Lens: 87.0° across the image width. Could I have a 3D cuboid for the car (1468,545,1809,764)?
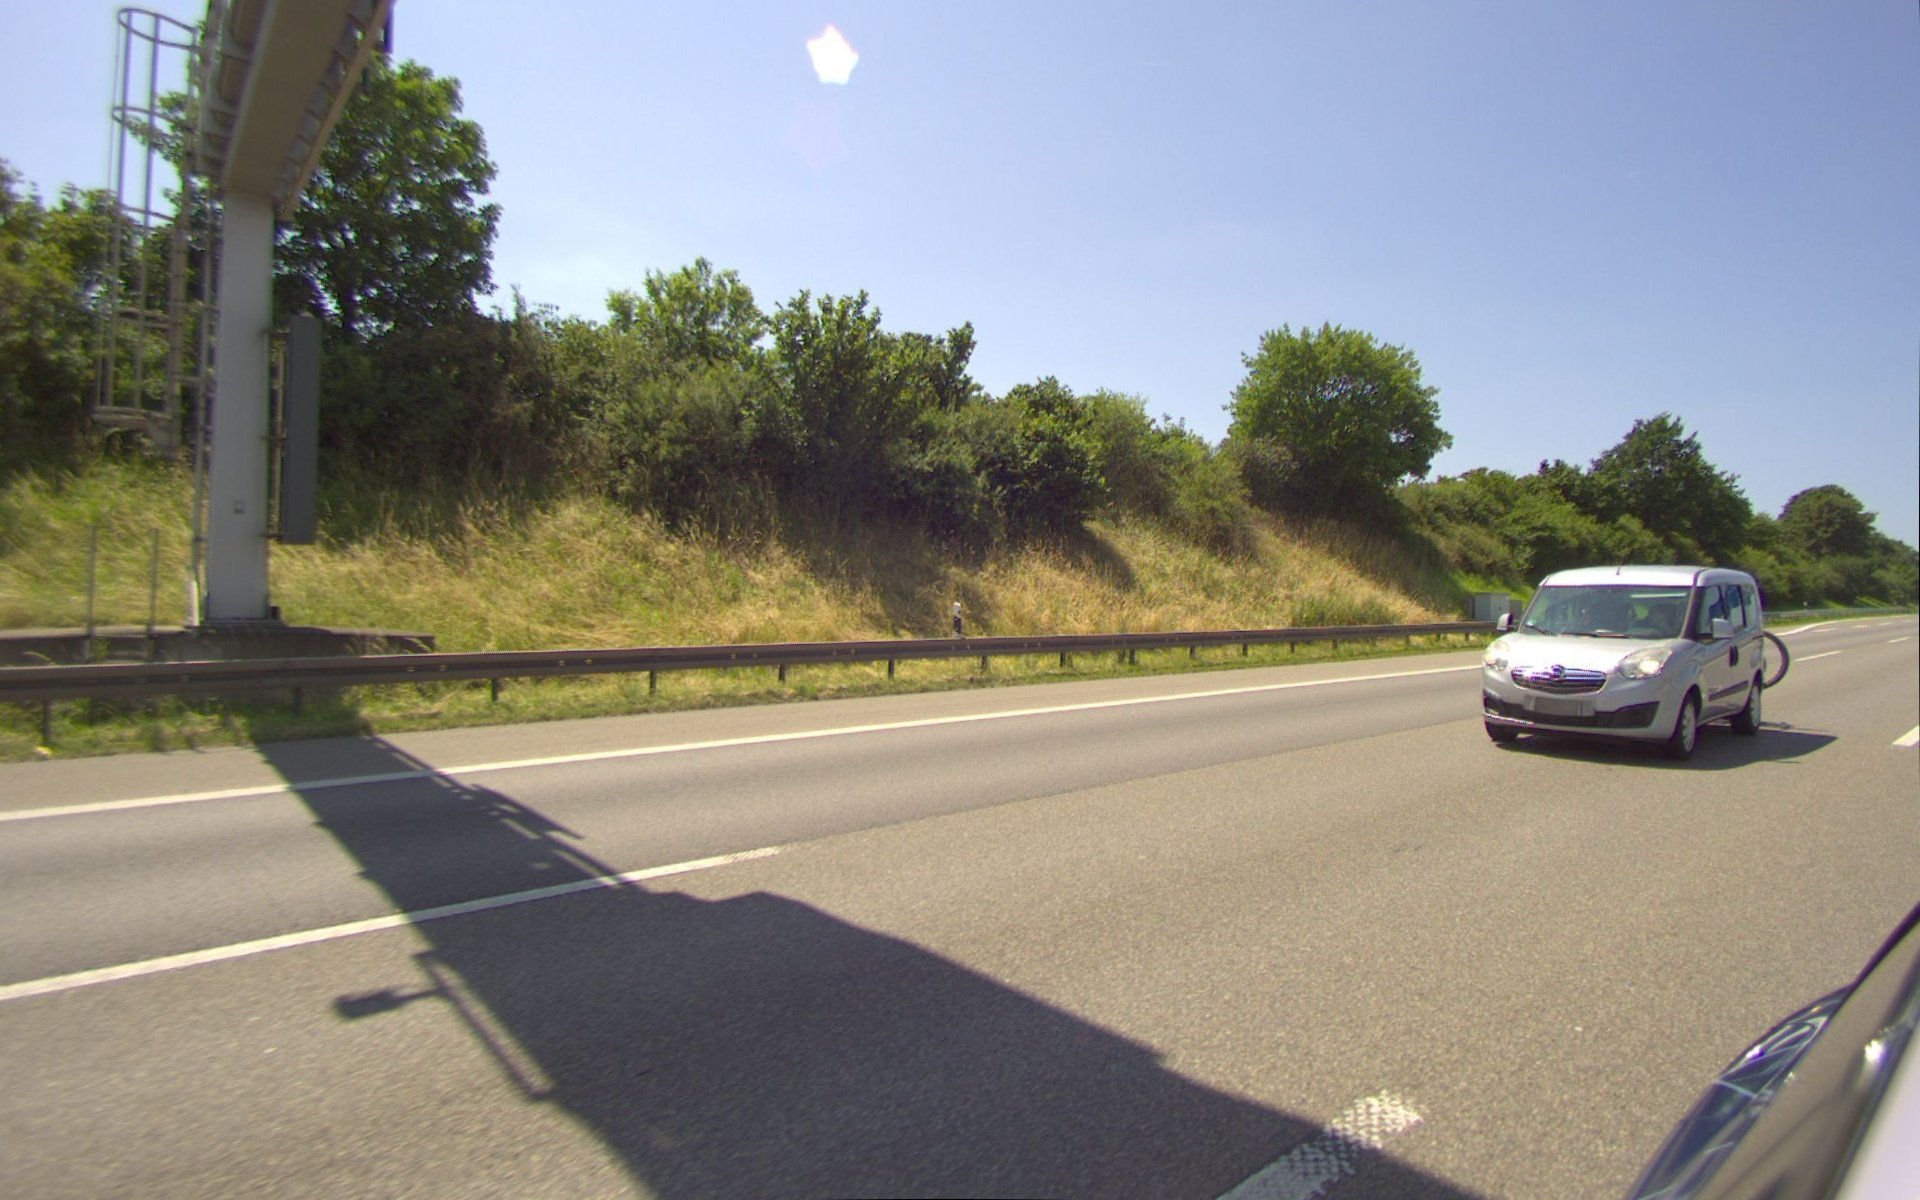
[{"bbox_3d":[7.575,0.448,11.032,5.219,1.870,1.810,0,1,-41],"label":"car"}]
